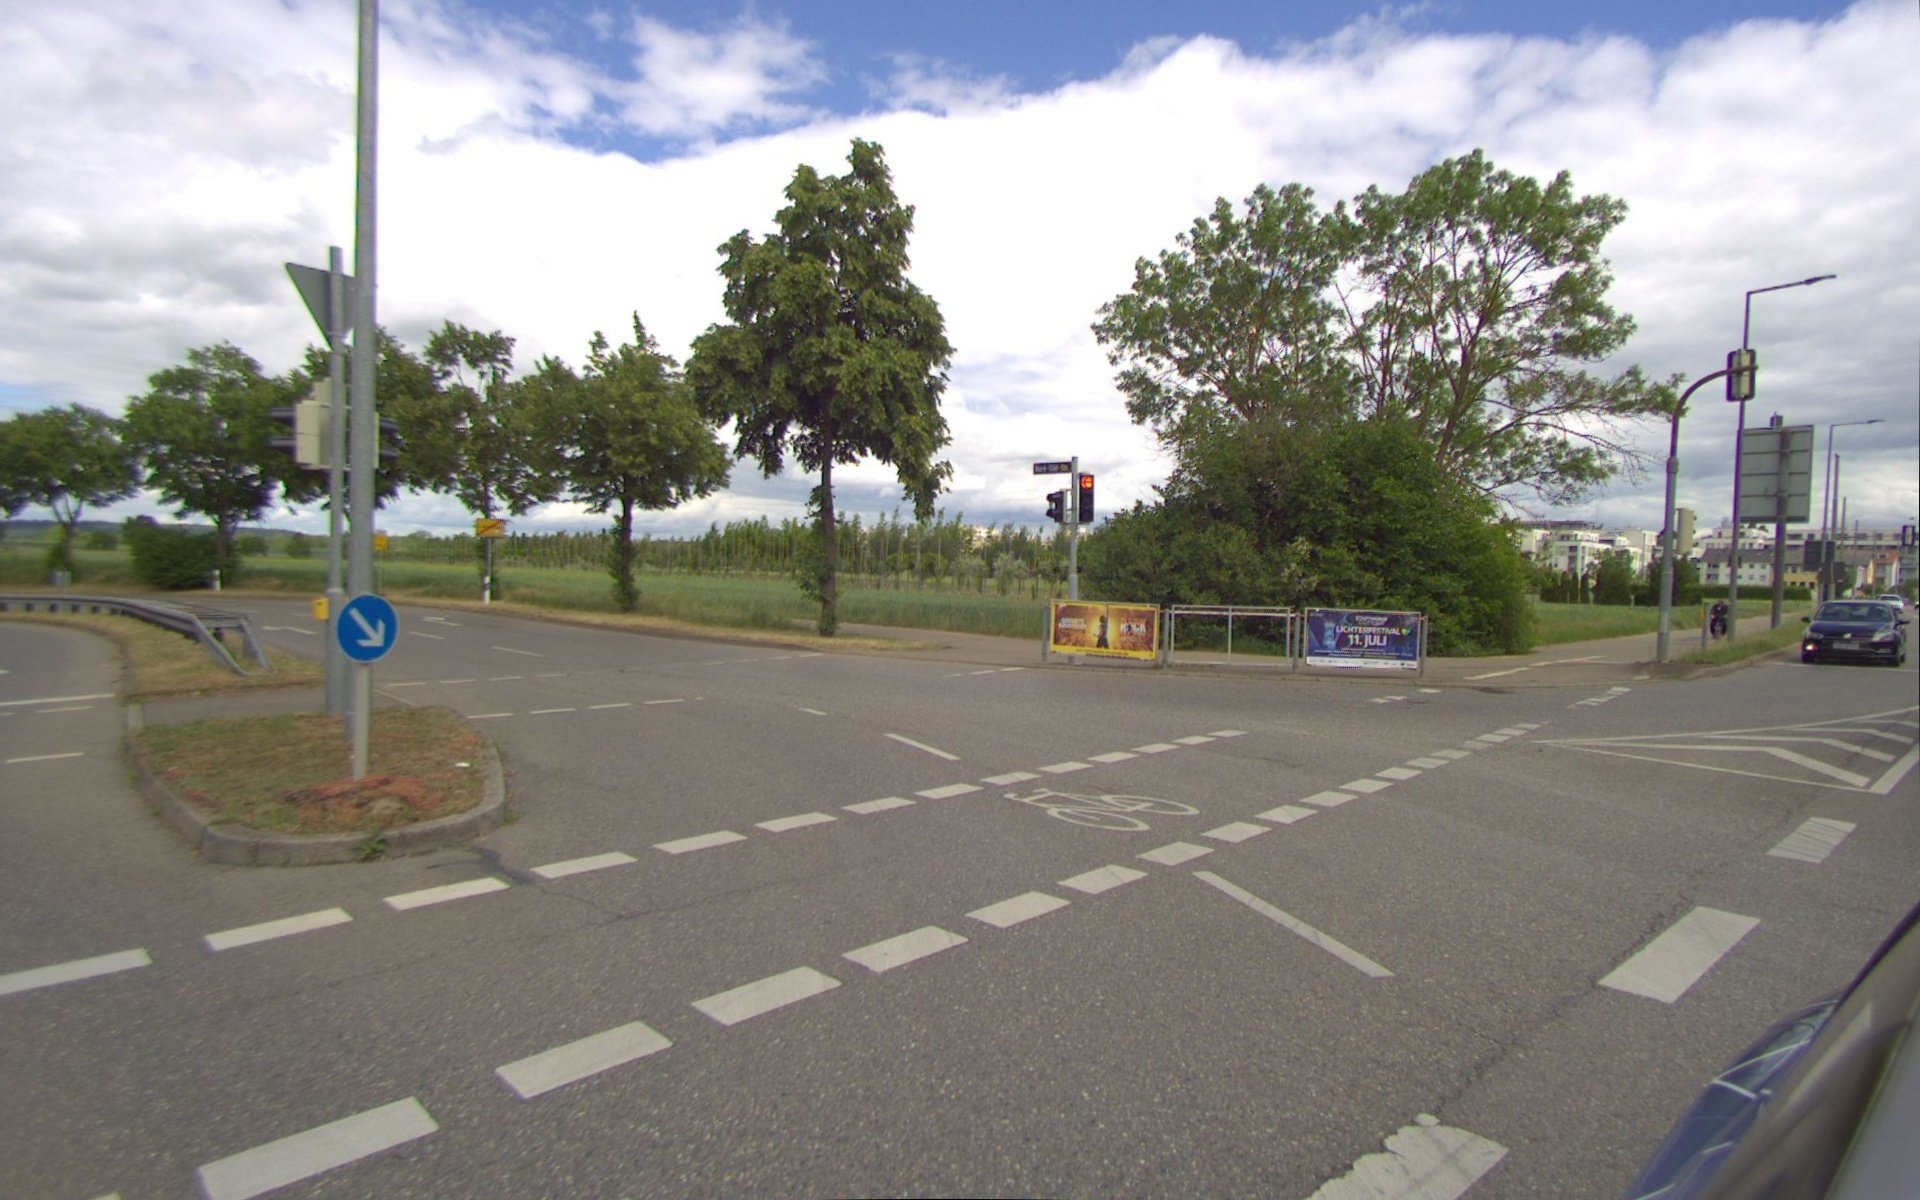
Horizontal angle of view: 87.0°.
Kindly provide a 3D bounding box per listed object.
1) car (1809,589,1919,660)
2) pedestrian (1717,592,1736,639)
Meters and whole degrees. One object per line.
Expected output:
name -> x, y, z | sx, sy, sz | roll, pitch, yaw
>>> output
car -> 20.679, 0.499, 23.029 | 3.678, 1.436, 1.680 | -1, 2, -44
pedestrian -> 28.534, 0.578, 37.682 | 0.491, 1.724, 0.616 | 0, 0, 44
